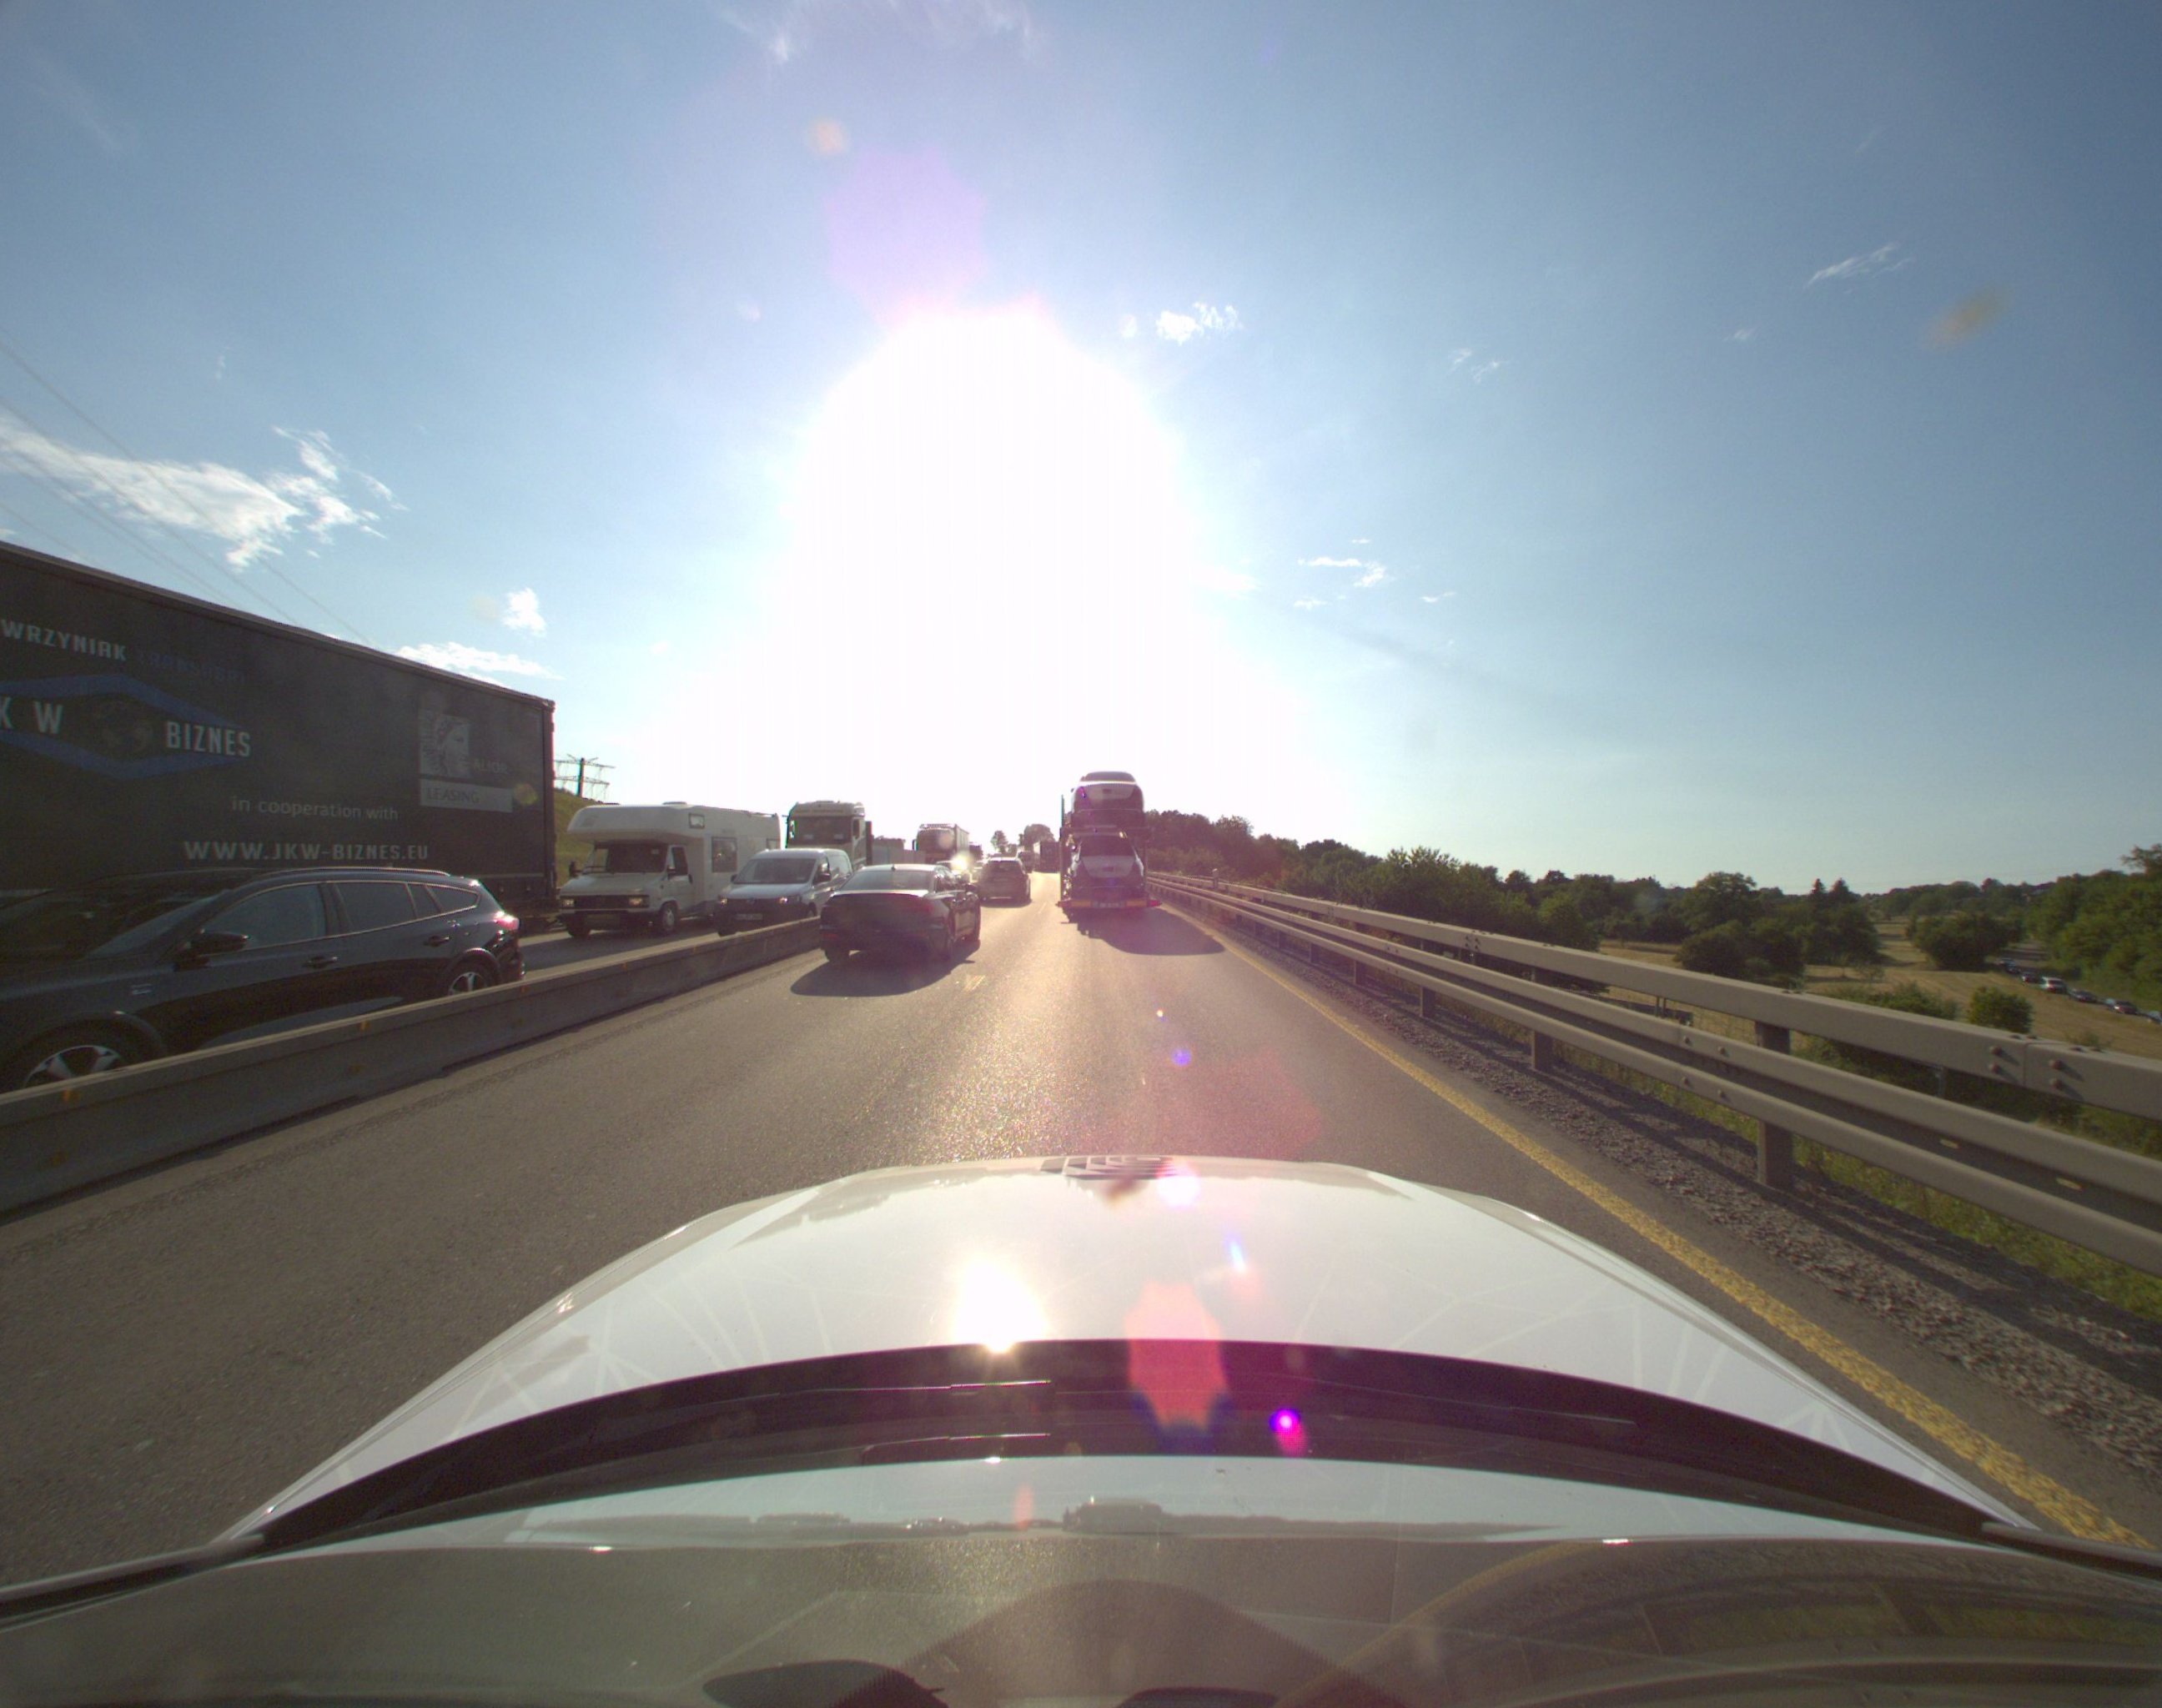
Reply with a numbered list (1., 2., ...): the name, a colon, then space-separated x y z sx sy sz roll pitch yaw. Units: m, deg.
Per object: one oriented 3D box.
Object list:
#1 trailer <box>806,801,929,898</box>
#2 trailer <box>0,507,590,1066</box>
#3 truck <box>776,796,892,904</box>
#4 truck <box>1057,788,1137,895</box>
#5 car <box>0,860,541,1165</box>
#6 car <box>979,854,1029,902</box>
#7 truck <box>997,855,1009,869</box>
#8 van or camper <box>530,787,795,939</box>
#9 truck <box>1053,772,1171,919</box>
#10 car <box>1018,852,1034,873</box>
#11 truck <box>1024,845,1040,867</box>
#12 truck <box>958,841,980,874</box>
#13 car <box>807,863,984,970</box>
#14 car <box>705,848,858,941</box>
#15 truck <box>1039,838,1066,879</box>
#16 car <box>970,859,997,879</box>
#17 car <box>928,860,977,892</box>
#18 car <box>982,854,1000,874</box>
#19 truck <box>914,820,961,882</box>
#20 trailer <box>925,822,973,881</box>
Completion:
1. trailer: -9.521 -0.100 38.278 2.513 3.725 13.966 -1 -1 -2
2. trailer: -9.292 -0.462 9.068 2.435 4.189 8.542 -1 -1 0
3. truck: -9.400 -0.100 31.747 2.593 3.754 6.514 -1 -1 -1
4. truck: 0.524 -0.407 34.233 2.829 3.792 9.982 -1 -1 -1
5. car: -6.051 0.797 5.492 1.674 1.479 4.603 -1 -1 1
6. car: -2.753 0.843 29.762 1.688 1.596 3.994 -1 -1 -4
7. truck: -18.059 1.761 188.551 2.586 3.170 6.665 -1 -1 -5
8. van or camper: -9.425 0.212 19.547 2.400 2.891 7.616 -1 -1 0
9. truck: 0.670 -0.154 24.851 2.791 3.497 10.600 -1 -1 -1
10. car: -6.883 1.045 101.666 1.917 2.492 5.401 -1 -1 -4
11. truck: -8.349 0.398 139.175 2.526 3.648 8.892 -1 -1 -4
12. truck: -14.127 0.504 103.214 2.499 4.066 5.872 -1 -1 -5
13. car: -2.830 0.878 13.610 1.929 1.399 4.957 -1 0 -2
14. car: -6.172 0.774 17.364 1.752 1.695 4.449 -1 -1 -2
15. truck: -3.949 0.584 109.812 3.279 5.237 9.921 -1 -1 -4
16. car: -7.524 1.148 63.060 1.755 1.508 4.250 -1 -1 -3
17. car: -6.381 1.083 40.982 1.788 1.511 4.583 -1 -1 -1
18. car: -11.479 1.247 103.915 2.054 2.500 6.763 -1 -1 -5
19. truck: -9.932 -0.187 56.939 2.497 4.066 5.658 -1 -1 -3
20. trailer: -10.325 -0.085 64.844 2.302 4.130 14.580 -1 -1 -4
